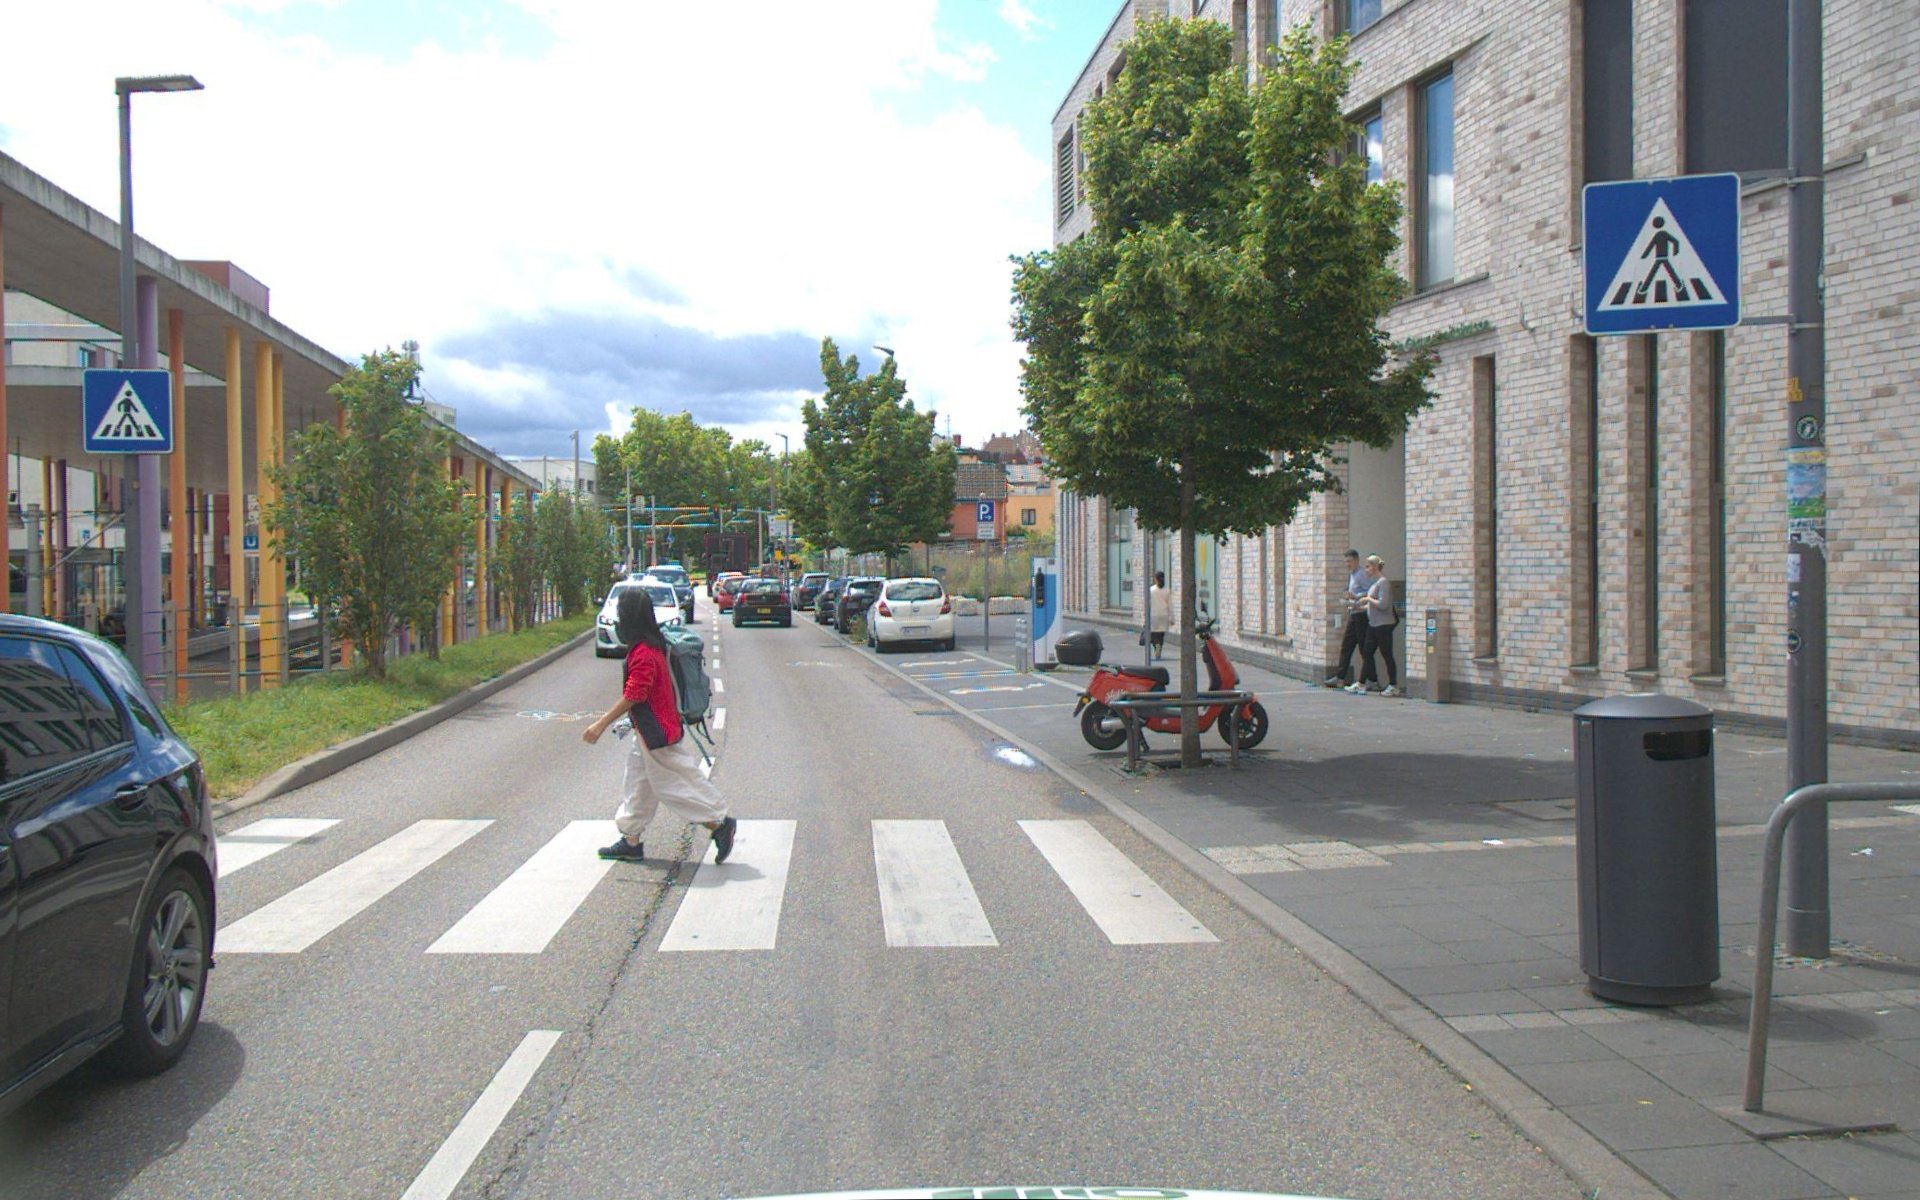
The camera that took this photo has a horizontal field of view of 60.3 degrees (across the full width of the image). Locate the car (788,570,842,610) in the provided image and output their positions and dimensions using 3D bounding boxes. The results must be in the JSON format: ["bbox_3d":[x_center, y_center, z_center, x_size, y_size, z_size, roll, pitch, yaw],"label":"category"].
[{"bbox_3d":[-5.813,-0.420,65.965,1.750,1.477,4.466,-2,1,-10],"label":"car"}]

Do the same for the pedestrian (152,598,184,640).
[{"bbox_3d":[-27.243,0.662,56.871,0.807,1.403,0.701,1,1,-8],"label":"pedestrian"}]

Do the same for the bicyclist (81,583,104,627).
[{"bbox_3d":[-31.618,0.189,60.276,0.474,1.621,0.680,1,-1,-6],"label":"bicyclist"}]

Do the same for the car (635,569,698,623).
[{"bbox_3d":[-9.461,-0.154,53.387,1.884,1.633,4.616,1,1,-10],"label":"car"}]

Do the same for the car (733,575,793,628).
[{"bbox_3d":[-6.002,0.009,50.185,1.694,1.482,3.802,-1,2,-8],"label":"car"}]

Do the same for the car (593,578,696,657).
[{"bbox_3d":[-6.270,0.308,33.232,1.777,1.494,3.901,1,1,-7],"label":"car"}]

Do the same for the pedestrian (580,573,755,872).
[{"bbox_3d":[-1.638,0.663,9.303,0.910,1.593,0.813,1,-1,-10],"label":"pedestrian"}]

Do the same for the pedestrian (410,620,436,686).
[{"bbox_3d":[-15.504,1.527,47.756,0.575,1.862,0.709,1,-1,-7],"label":"pedestrian"}]

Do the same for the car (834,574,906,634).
[{"bbox_3d":[-2.494,0.078,45.052,1.660,1.486,4.141,-2,1,-7],"label":"car"}]

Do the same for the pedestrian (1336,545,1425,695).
[{"bbox_3d":[5.149,0.239,20.281,0.722,1.797,0.753,-1,-1,-22],"label":"pedestrian"}]

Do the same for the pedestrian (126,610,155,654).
[{"bbox_3d":[-26.801,1.041,54.106,0.639,1.403,0.701,1,1,-8],"label":"pedestrian"}]

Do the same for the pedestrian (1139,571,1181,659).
[{"bbox_3d":[3.483,0.249,28.821,0.595,1.498,0.791,-2,1,0],"label":"pedestrian"}]

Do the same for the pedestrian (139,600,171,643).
[{"bbox_3d":[-27.181,0.723,55.853,0.807,1.403,0.701,1,1,-8],"label":"pedestrian"}]

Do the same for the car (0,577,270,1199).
[{"bbox_3d":[-3.096,0.684,3.608,1.738,1.489,4.229,1,0,-5],"label":"car"}]

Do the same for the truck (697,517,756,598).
[{"bbox_3d":[-14.366,-2.509,101.259,3.146,4.615,9.004,0,-1,-11],"label":"truck"}]

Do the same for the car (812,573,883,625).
[{"bbox_3d":[-3.547,-0.058,51.436,1.830,1.476,4.635,-2,1,-8],"label":"car"}]

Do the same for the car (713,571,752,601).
[{"bbox_3d":[-11.812,-0.721,85.609,1.853,1.491,4.060,-2,0,-10],"label":"car"}]

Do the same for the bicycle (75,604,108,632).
[{"bbox_3d":[-31.614,0.661,60.190,0.474,0.980,1.610,1,-1,-6],"label":"bicycle"}]

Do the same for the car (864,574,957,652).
[{"bbox_3d":[-1.117,0.232,35.641,1.660,1.509,3.792,-2,1,-6],"label":"car"}]

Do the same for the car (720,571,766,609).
[{"bbox_3d":[-8.788,-0.436,66.681,1.680,1.417,3.800,-1,2,-9],"label":"car"}]

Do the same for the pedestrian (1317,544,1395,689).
[{"bbox_3d":[5.035,0.204,21.041,0.723,1.797,0.621,-1,-1,-15],"label":"pedestrian"}]

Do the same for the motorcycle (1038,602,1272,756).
[{"bbox_3d":[1.771,0.709,14.972,2.006,1.288,0.673,-3,0,9],"label":"motorcycle"}]
